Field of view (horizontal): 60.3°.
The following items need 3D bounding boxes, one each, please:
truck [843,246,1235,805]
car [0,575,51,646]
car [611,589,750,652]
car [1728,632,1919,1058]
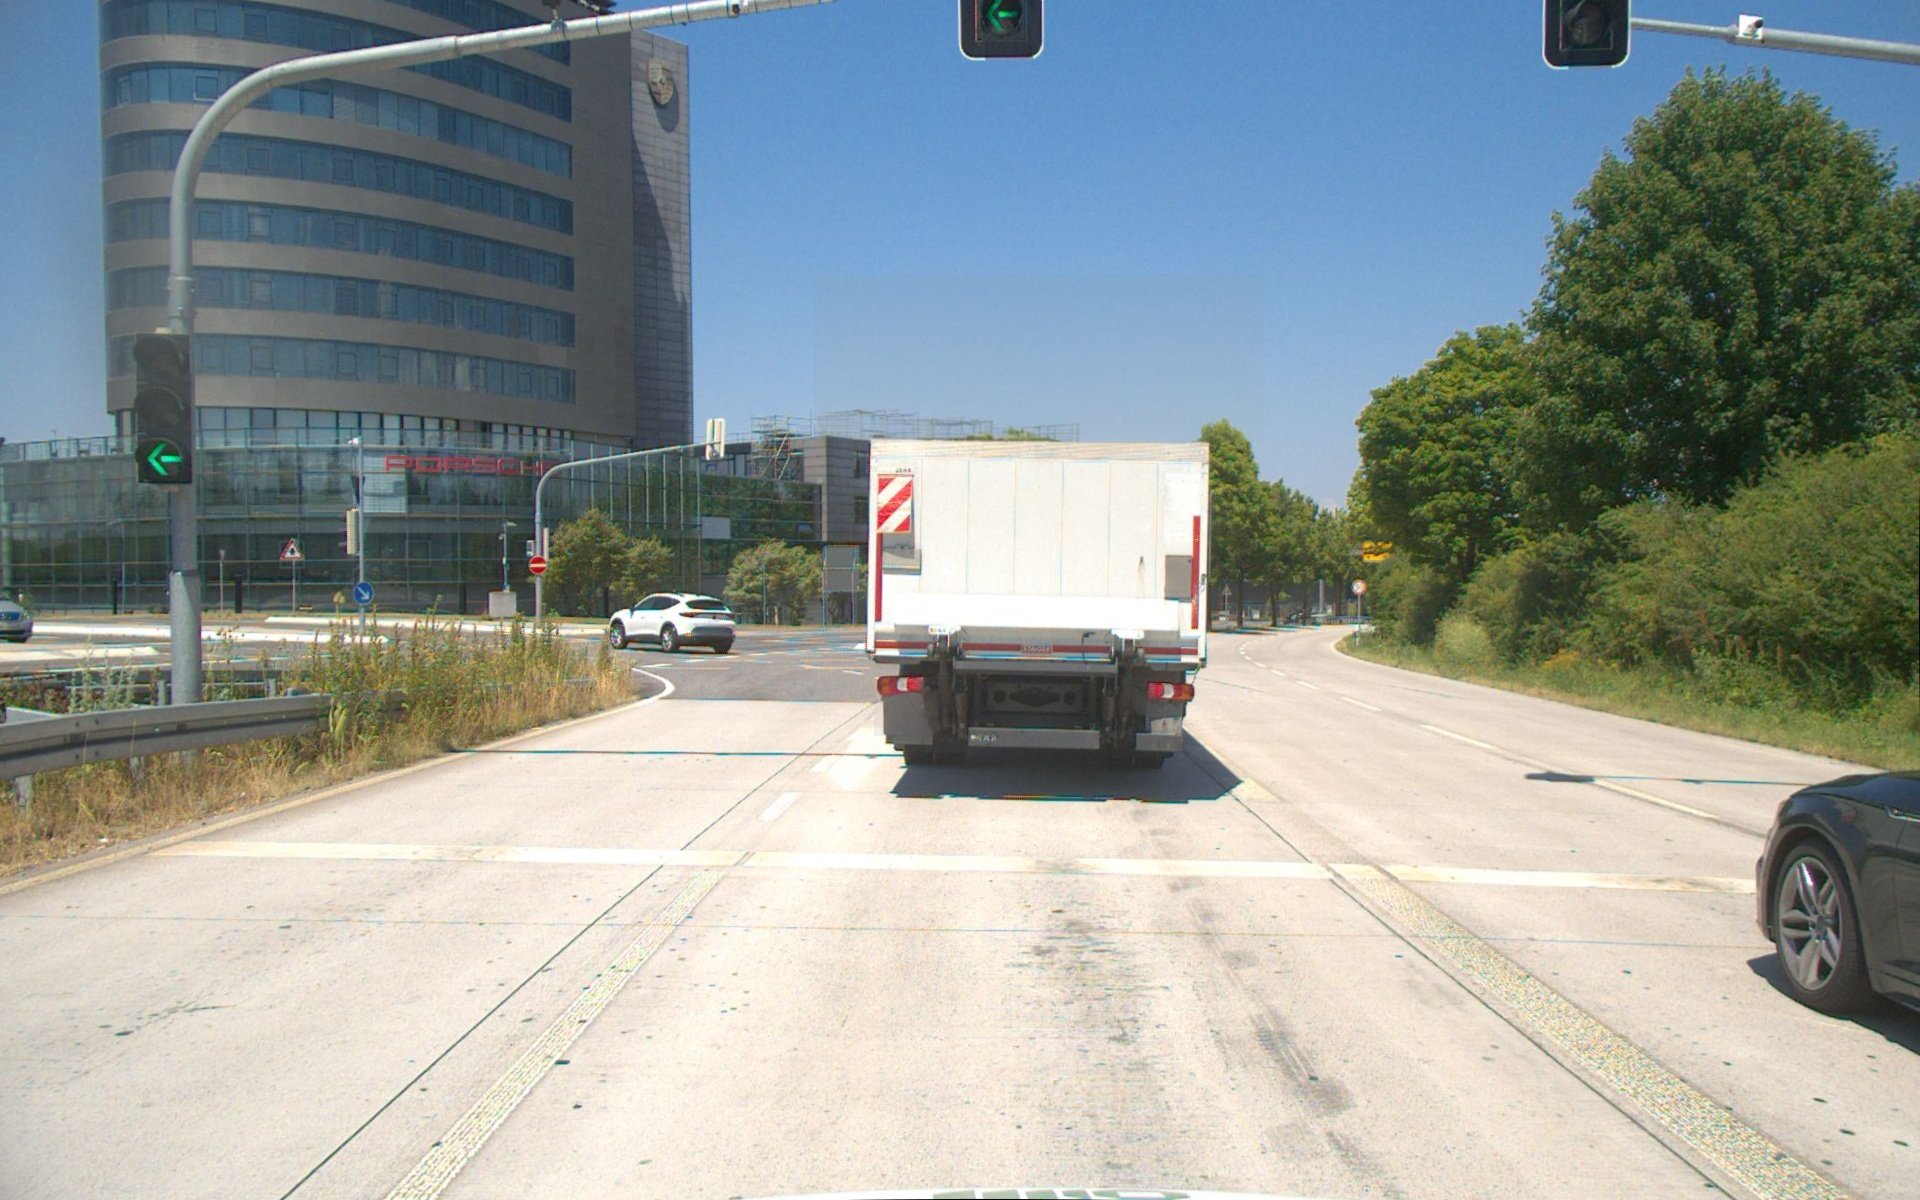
[{"bbox_3d":[0.754,-0.512,16.470,2.712,3.927,9.373,1,0,2],"label":"truck"},{"bbox_3d":[-23.787,0.281,39.187,4.229,1.623,1.776,-1,-2,24],"label":"car"},{"bbox_3d":[-7.366,0.518,43.369,1.792,1.584,3.940,1,-1,-41],"label":"car"},{"bbox_3d":[4.149,0.856,4.788,1.731,1.435,4.610,1,0,0],"label":"car"}]
